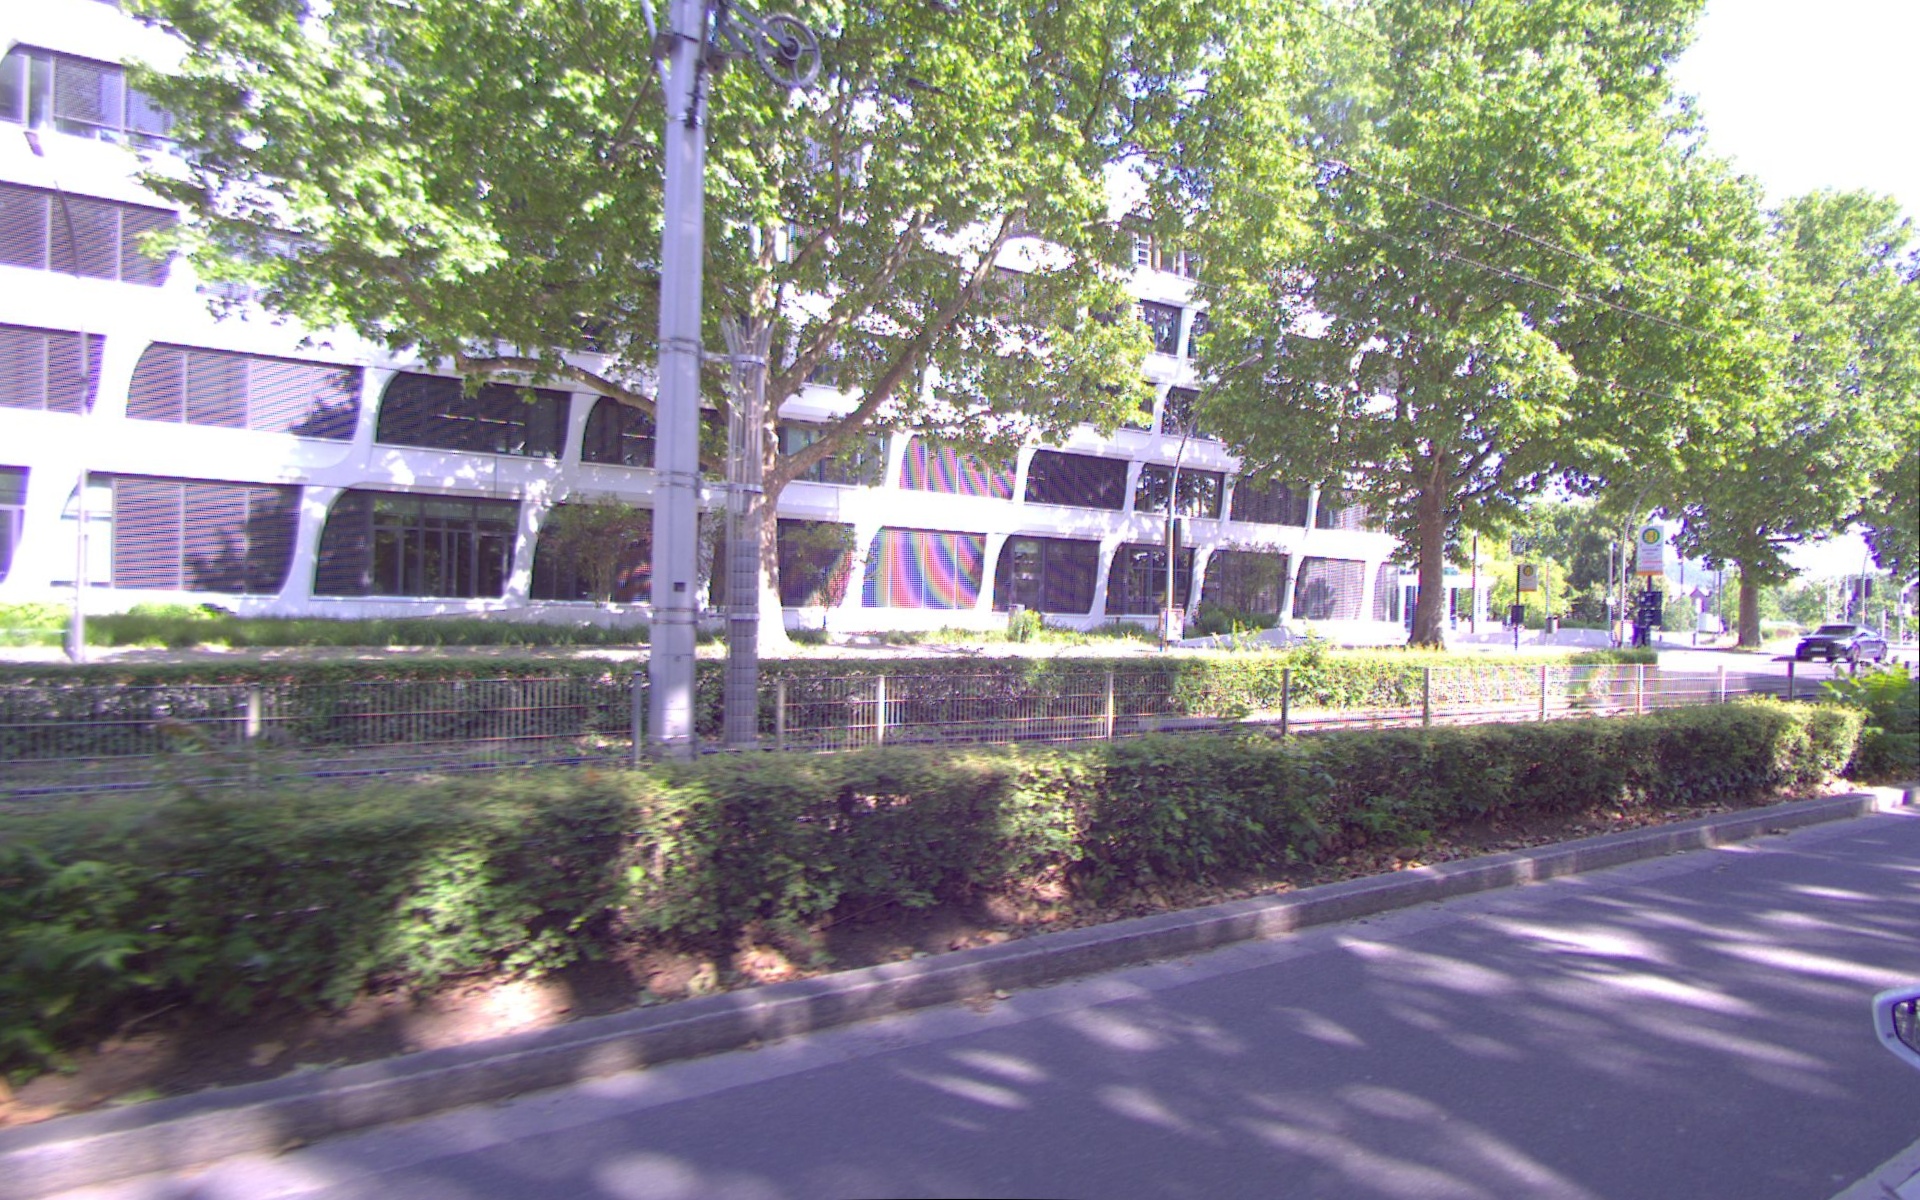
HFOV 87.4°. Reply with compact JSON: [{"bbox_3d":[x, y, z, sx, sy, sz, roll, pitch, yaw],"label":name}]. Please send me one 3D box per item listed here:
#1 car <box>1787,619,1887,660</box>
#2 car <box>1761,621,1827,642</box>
[{"bbox_3d":[38.282,1.699,43.825,4.838,1.646,1.821,2,0,-30],"label":"car"},{"bbox_3d":[69.528,2.648,83.757,1.748,1.569,3.831,1,0,-29],"label":"car"}]
